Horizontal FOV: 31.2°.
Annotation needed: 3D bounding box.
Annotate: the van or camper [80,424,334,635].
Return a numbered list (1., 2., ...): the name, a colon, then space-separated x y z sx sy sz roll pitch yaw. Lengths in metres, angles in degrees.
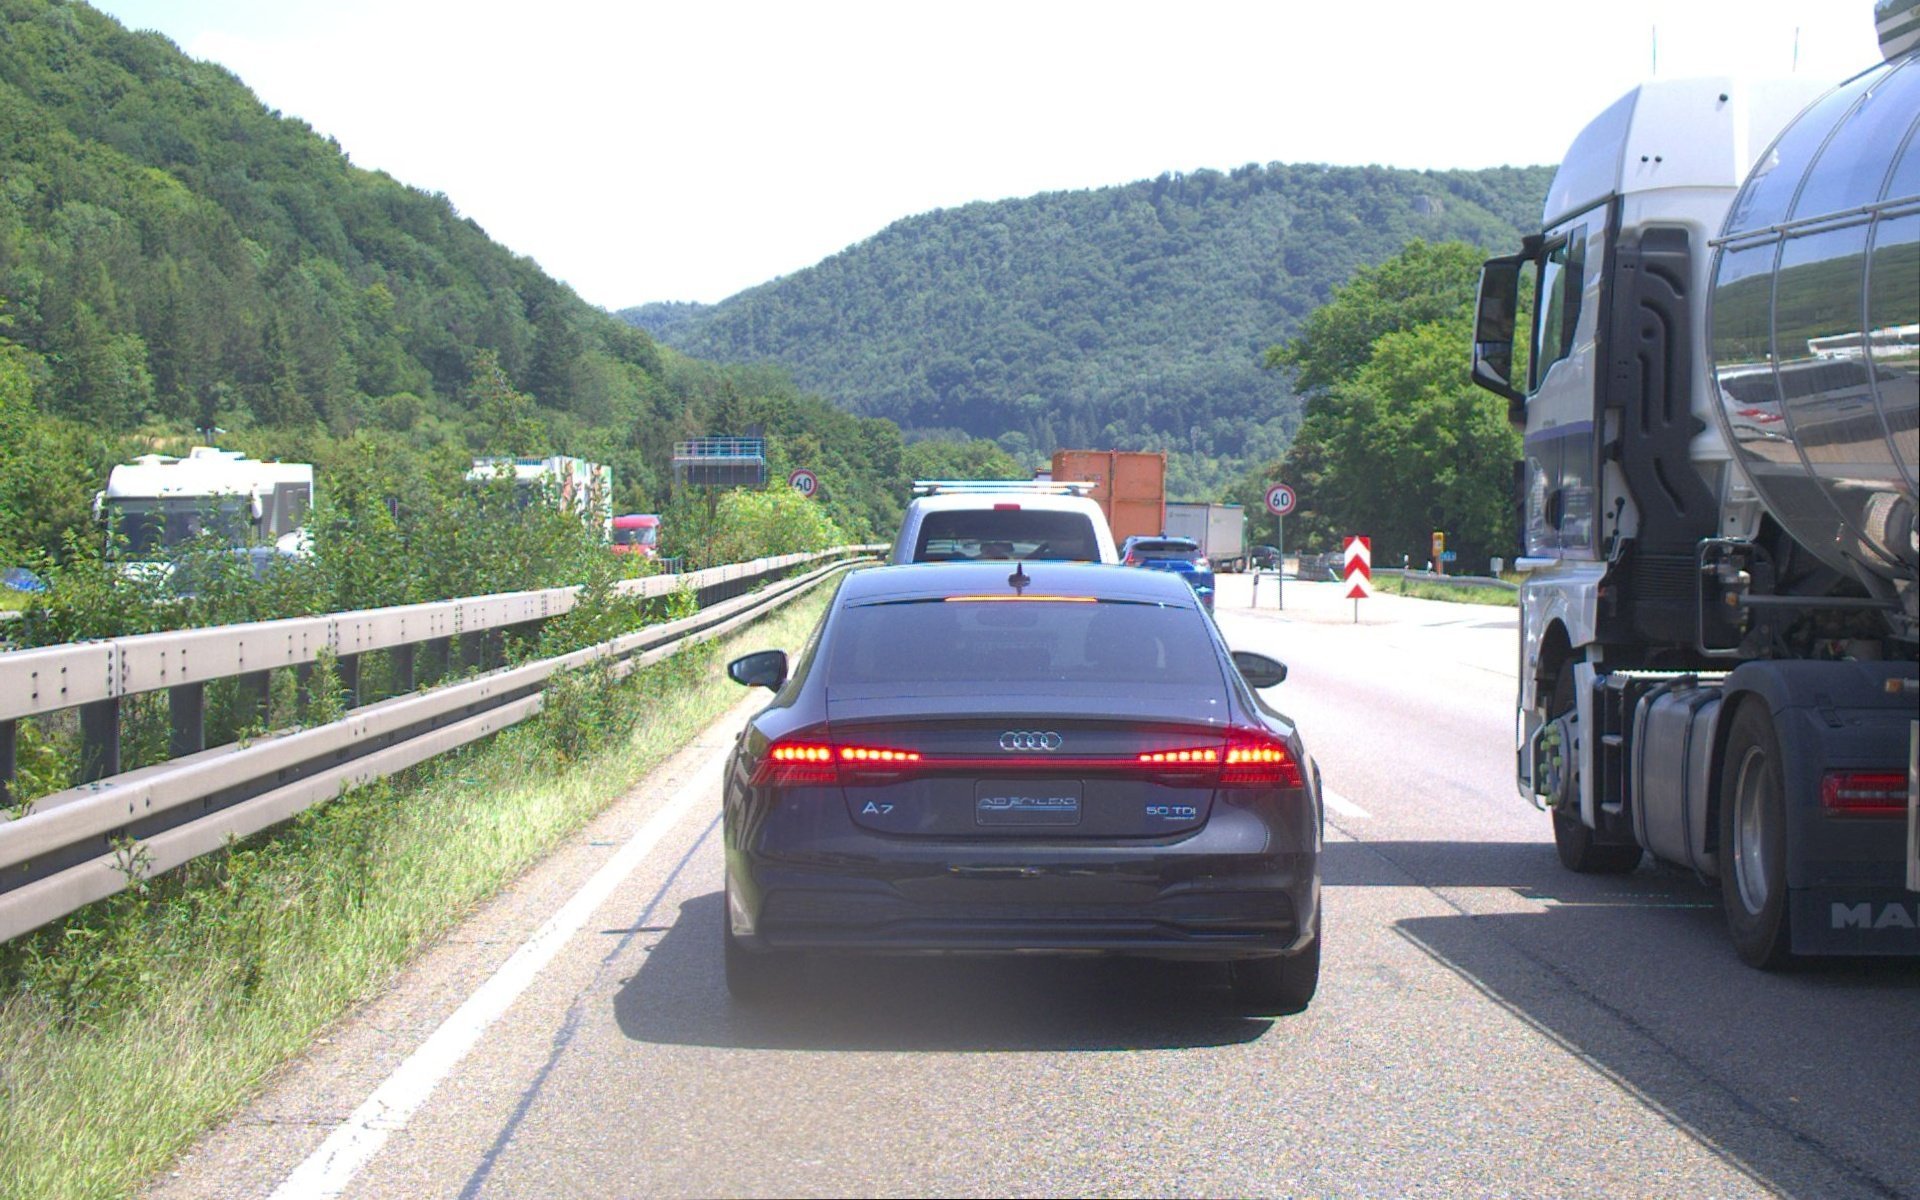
1. van or camper: -12.626 -1.186 58.271 2.590 3.324 7.648 0 1 0

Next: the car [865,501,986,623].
1. car: -0.601 -0.672 59.137 1.993 2.007 4.000 0 1 -1

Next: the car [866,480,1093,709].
1. car: 0.154 -0.084 32.334 1.993 2.007 4.000 0 1 -1

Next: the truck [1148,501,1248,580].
1. truck: 14.039 -3.484 201.380 3.795 4.399 14.948 0 1 12

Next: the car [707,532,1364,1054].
1. car: 0.072 0.515 11.878 1.849 1.483 4.084 0 1 -5

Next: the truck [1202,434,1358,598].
1. truck: 8.339 -2.190 91.442 2.817 3.989 14.956 0 1 0

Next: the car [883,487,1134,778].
1. car: 0.287 0.167 23.753 1.576 1.827 4.000 0 1 -1

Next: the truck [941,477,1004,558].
1. truck: 0.538 -3.640 152.431 2.628 3.429 11.421 0 1 0

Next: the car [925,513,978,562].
1. car: -0.277 -2.092 115.385 1.712 1.613 4.000 0 1 1

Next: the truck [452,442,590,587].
1. truck: -12.710 -2.464 100.285 2.869 3.992 10.172 0 1 -1

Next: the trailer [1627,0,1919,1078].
1. trailer: 4.026 -0.464 7.621 2.538 3.722 11.892 0 1 -1

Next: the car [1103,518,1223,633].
1. car: 3.657 -0.470 62.529 1.993 1.996 4.000 0 1 1

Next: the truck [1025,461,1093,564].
1. truck: 3.438 -3.038 121.159 1.993 3.435 11.812 0 1 0

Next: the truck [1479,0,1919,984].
1. truck: 3.895 -0.598 14.429 2.511 3.745 5.246 0 1 -1

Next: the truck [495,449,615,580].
1. truck: -12.860 -2.710 109.905 2.869 3.967 9.032 0 1 -1

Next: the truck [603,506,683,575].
1. truck: -12.212 -2.313 133.088 2.296 2.579 7.968 0 1 0

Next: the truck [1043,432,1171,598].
1. truck: 3.746 -2.212 90.854 2.817 3.989 14.956 0 1 0

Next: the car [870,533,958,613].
1. car: -0.933 -0.584 71.495 1.712 1.613 4.000 0 1 1
